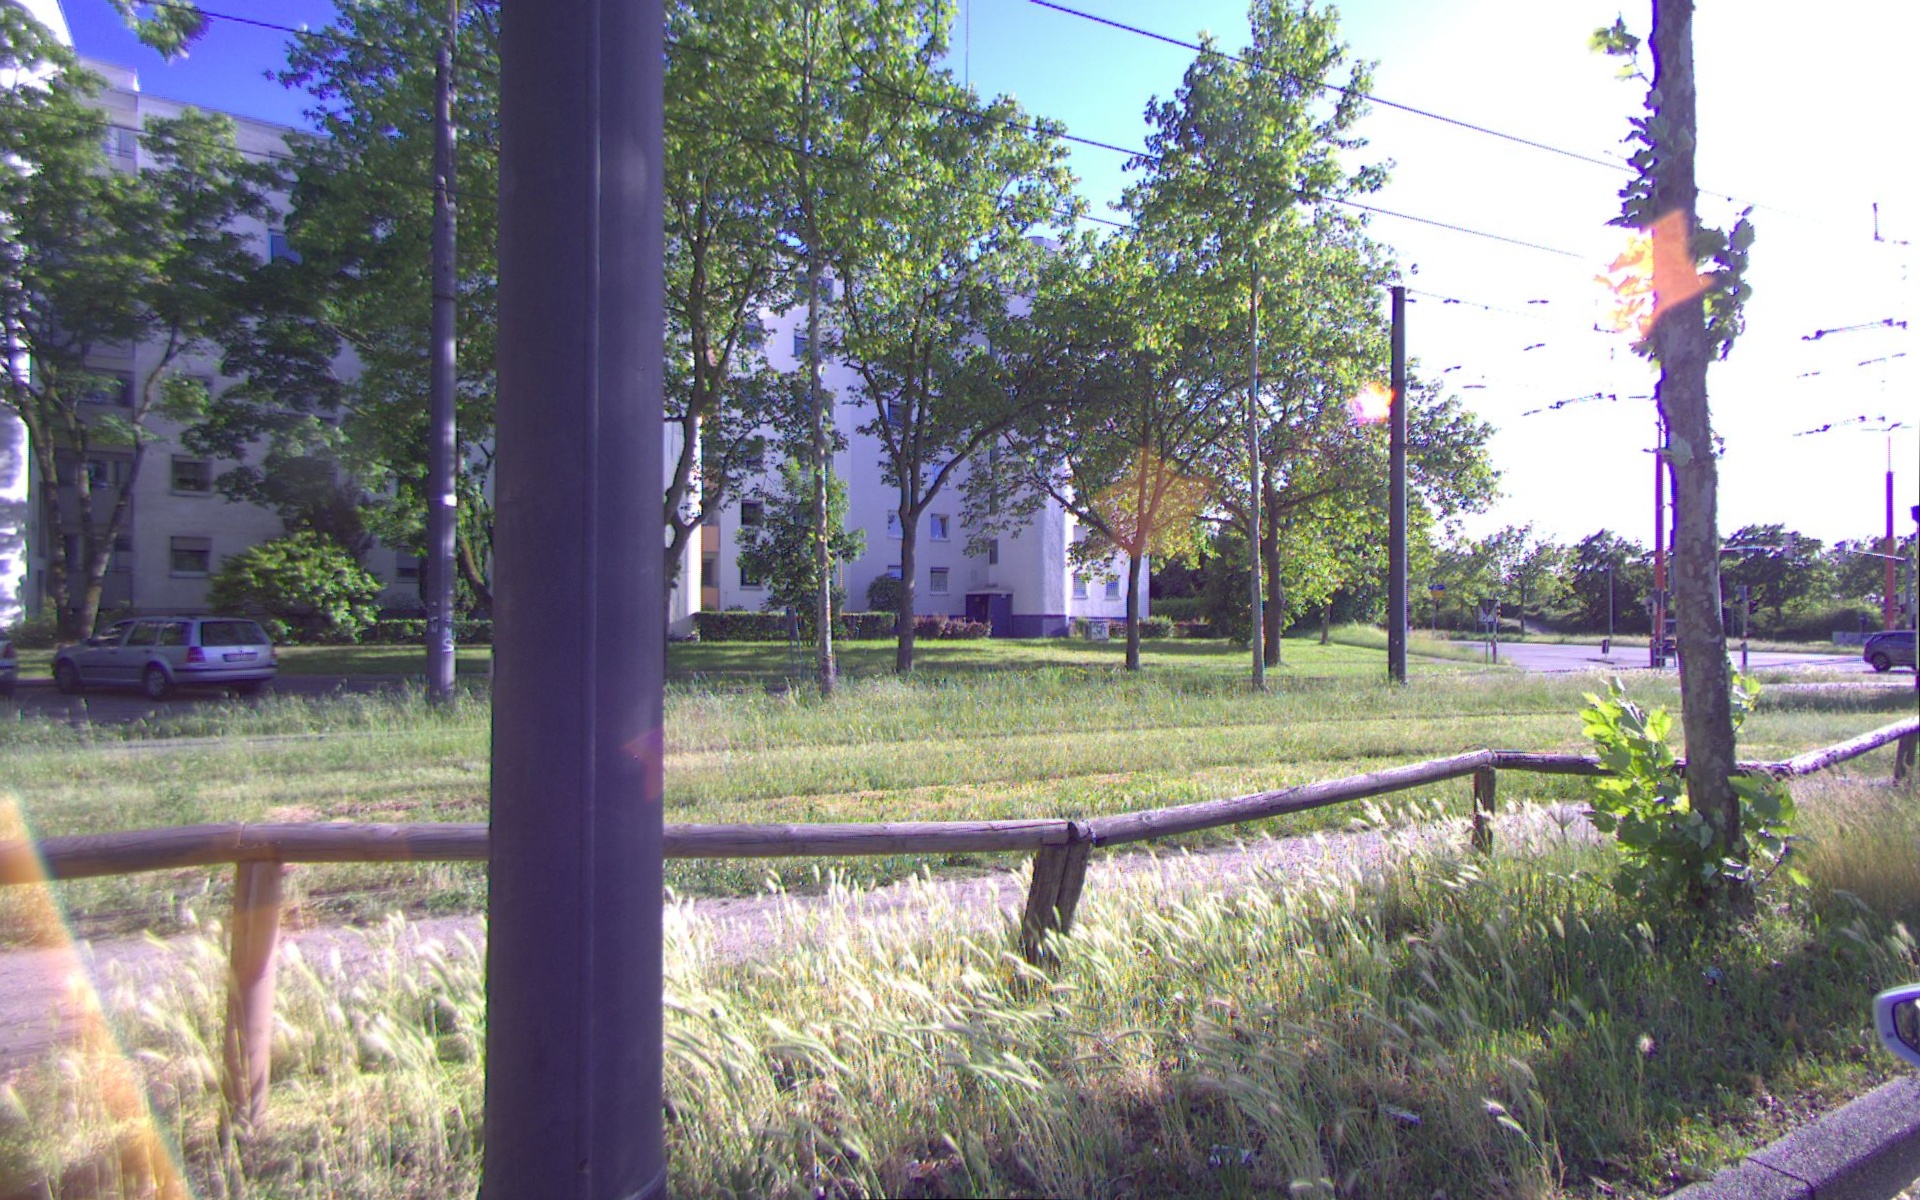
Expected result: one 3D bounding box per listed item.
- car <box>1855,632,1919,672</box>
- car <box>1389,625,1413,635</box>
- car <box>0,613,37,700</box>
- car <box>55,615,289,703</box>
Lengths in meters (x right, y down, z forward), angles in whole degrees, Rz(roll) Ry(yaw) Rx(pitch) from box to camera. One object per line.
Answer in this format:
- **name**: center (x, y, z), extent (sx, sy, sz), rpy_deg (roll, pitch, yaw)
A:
- **car**: center (39.277, 2.099, 40.539), extent (1.962, 1.564, 4.645), rpy_deg (1, -1, -5)
- **car**: center (61.594, 4.165, 140.382), extent (1.630, 1.327, 3.815), rpy_deg (1, -1, -1)
- **car**: center (-17.922, 0.930, 17.141), extent (3.609, 1.452, 1.703), rpy_deg (0, -1, 20)
- **car**: center (-14.478, 1.029, 18.485), extent (3.609, 1.452, 1.732), rpy_deg (0, -1, 20)
